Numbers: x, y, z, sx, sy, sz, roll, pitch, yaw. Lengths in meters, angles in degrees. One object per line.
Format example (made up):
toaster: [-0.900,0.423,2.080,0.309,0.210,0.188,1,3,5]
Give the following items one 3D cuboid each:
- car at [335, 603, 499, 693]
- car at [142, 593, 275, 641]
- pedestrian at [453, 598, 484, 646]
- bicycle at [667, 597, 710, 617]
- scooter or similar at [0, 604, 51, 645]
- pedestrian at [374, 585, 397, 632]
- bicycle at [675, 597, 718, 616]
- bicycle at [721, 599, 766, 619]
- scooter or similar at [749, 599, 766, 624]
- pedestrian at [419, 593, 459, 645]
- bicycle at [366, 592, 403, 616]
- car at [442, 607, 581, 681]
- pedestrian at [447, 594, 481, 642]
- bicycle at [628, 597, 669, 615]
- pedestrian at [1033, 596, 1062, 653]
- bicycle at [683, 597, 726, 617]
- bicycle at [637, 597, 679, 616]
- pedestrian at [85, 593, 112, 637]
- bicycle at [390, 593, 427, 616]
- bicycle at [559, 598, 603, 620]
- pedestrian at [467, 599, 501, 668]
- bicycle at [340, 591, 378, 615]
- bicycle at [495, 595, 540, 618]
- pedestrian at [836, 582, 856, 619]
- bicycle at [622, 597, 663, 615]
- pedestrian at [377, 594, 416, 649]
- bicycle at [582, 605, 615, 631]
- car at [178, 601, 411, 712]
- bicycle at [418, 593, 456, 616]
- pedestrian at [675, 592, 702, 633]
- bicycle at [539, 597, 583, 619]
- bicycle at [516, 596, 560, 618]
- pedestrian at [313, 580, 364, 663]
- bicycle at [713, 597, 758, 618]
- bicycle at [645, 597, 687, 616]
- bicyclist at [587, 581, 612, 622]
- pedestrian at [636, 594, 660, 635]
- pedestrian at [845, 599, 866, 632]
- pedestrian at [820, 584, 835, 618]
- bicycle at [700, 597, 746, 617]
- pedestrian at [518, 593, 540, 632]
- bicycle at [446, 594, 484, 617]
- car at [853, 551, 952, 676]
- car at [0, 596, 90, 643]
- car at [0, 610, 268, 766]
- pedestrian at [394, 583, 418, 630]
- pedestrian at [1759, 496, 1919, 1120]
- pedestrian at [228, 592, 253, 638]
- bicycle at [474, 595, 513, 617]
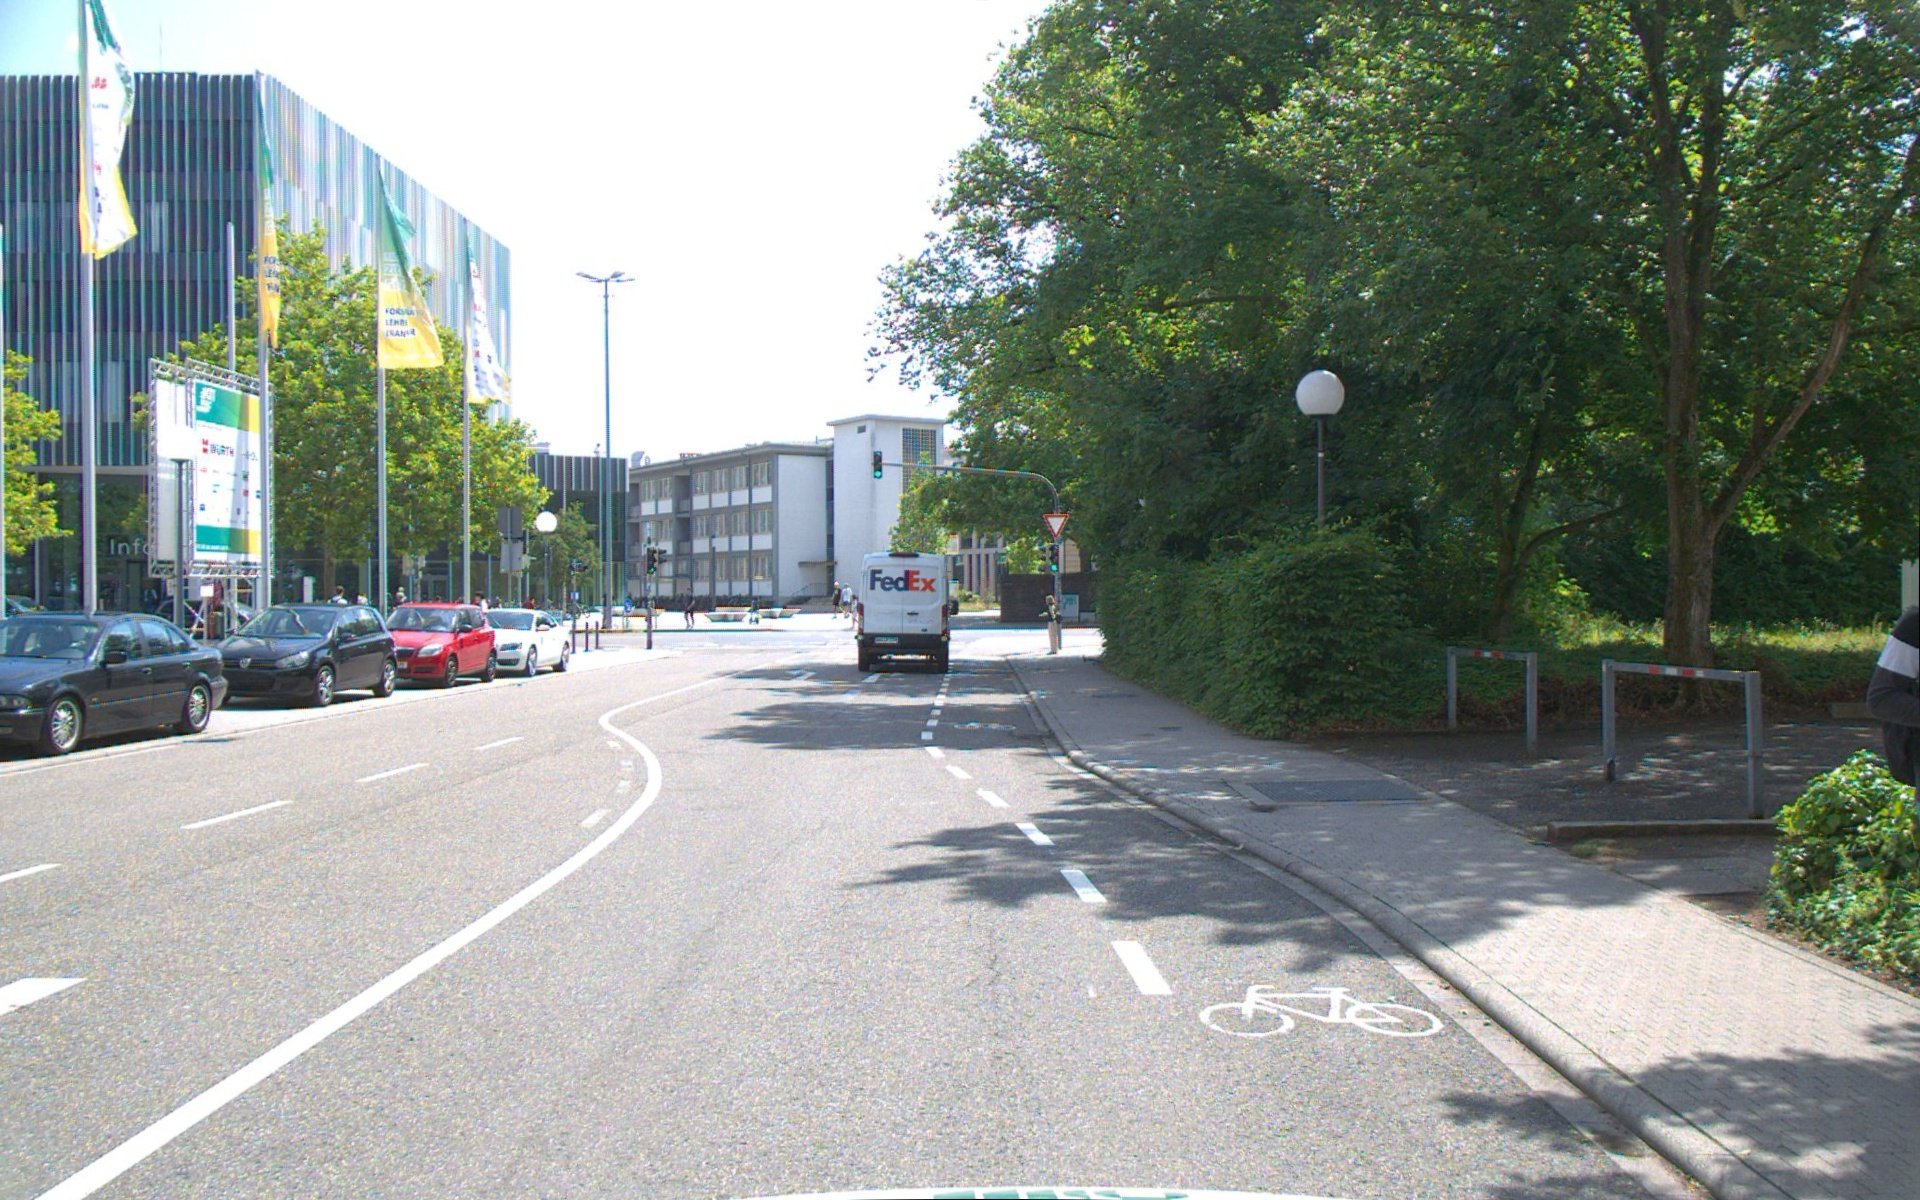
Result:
car: [-9.923,0.829,30.528,1.642,1.493,3.911,2,0,1]
car: [-28.095,0.624,61.908,4.193,1.690,1.653,-1,1,1]
pedestrian: [-16.702,0.737,56.205,0.754,1.626,0.799,-1,0,2]
bicycle: [-19.800,0.507,120.538,2.934,1.387,1.102,1,0,-38]
scooter or similar: [-28.506,0.745,50.144,1.692,1.217,0.494,0,0,6]
pedestrian: [-31.987,0.463,92.116,0.965,2.610,1.002,1,-1,-36]
bicycle: [-19.048,0.481,119.484,2.934,1.387,1.102,1,0,-38]
bicycle: [-14.899,0.638,113.882,2.934,1.387,1.102,1,0,-38]
scooter or similar: [-9.988,0.574,81.564,0.703,1.199,2.718,0,0,-10]
pedestrian: [-18.690,0.684,59.299,0.844,1.850,1.096,-1,0,23]
bicycle: [-31.249,0.230,89.765,1.187,1.259,2.915,1,0,-35]
car: [-9.608,0.891,35.801,1.642,1.420,4.663,2,0,1]
pedestrian: [-17.718,0.645,59.104,0.808,1.683,0.862,0,1,13]
bicycle: [-23.893,0.485,126.787,2.934,1.387,1.102,1,0,-38]
pedestrian: [2.505,0.695,47.264,0.716,1.603,0.775,1,0,-4]
bicycle: [-18.277,0.481,118.427,2.934,1.387,1.102,1,0,-38]
bicycle: [-22.784,0.504,124.943,2.934,1.387,1.102,1,0,-38]
pedestrian: [-47.131,0.834,90.484,0.952,2.387,1.014,0,0,0]
bicycle: [-30.188,0.248,90.559,1.187,1.259,2.915,1,0,-34]
bicycle: [-22.361,0.547,97.573,1.192,1.259,2.902,1,0,-45]
pedestrian: [-13.298,0.933,46.193,0.704,1.892,0.770,0,0,2]
bicycle: [-32.247,0.162,88.707,1.187,1.259,2.915,1,0,-35]
bicycle: [-25.410,0.376,94.976,1.192,1.259,2.902,1,0,-45]
pedestrian: [-6.062,0.021,87.703,0.852,1.922,0.908,0,0,-19]
bicycle: [-24.578,0.485,127.966,2.934,1.387,1.102,1,0,-38]
pedestrian: [-20.047,0.757,58.840,0.835,1.909,1.006,-1,0,23]
bicycle: [-16.420,0.799,75.146,0.754,1.142,2.028,-1,0,10]
car: [-10.036,0.792,25.304,1.712,1.493,4.197,2,0,2]
bicycle: [-29.134,0.251,92.139,1.187,1.259,2.913,1,0,-36]
pedestrian: [-12.622,0.563,76.816,0.812,1.903,1.084,-1,0,20]
bicycle: [-23.332,0.450,96.691,1.192,1.259,2.902,1,0,-45]
bicycle: [-24.488,0.403,95.891,1.192,1.259,2.902,1,0,-45]
pedestrian: [-14.421,0.483,38.393,0.704,1.883,1.089,1,0,4]
bicycle: [-15.622,0.528,114.983,2.934,1.387,1.102,1,0,-38]
bicycle: [-21.907,0.506,123.459,2.934,1.387,1.102,1,0,-38]
bicyclist: [-16.393,0.081,75.234,0.772,1.849,1.000,-1,0,10]
pedestrian: [-14.874,0.698,78.858,0.687,1.887,1.400,-1,2,9]
pedestrian: [-4.998,0.723,78.851,0.812,1.550,0.810,0,0,-19]
pedestrian: [-7.091,0.053,88.413,0.658,1.846,0.811,0,0,-19]
bicycle: [-16.645,0.524,116.247,2.934,1.387,1.259,1,0,-38]
pedestrian: [-19.189,0.545,73.701,0.738,1.708,0.755,-1,0,1]
bicycle: [-27.824,0.286,92.927,1.187,1.259,2.913,1,0,-36]
car: [-1.224,0.269,37.509,2.052,2.611,5.601,-1,0,0]
car: [-35.356,0.732,61.881,4.710,1.690,1.653,-1,0,1]
car: [-9.732,0.861,18.366,1.821,1.402,5.017,2,0,2]
pedestrian: [-31.177,0.349,93.111,0.968,2.610,0.999,1,-1,-42]
pedestrian: [2.972,0.566,4.727,0.724,1.704,1.256,0,0,-3]
pedestrian: [-40.801,0.855,93.777,0.952,2.610,1.014,0,0,0]
bicycle: [-26.641,0.334,94.379,1.188,1.259,2.912,1,0,-37]
